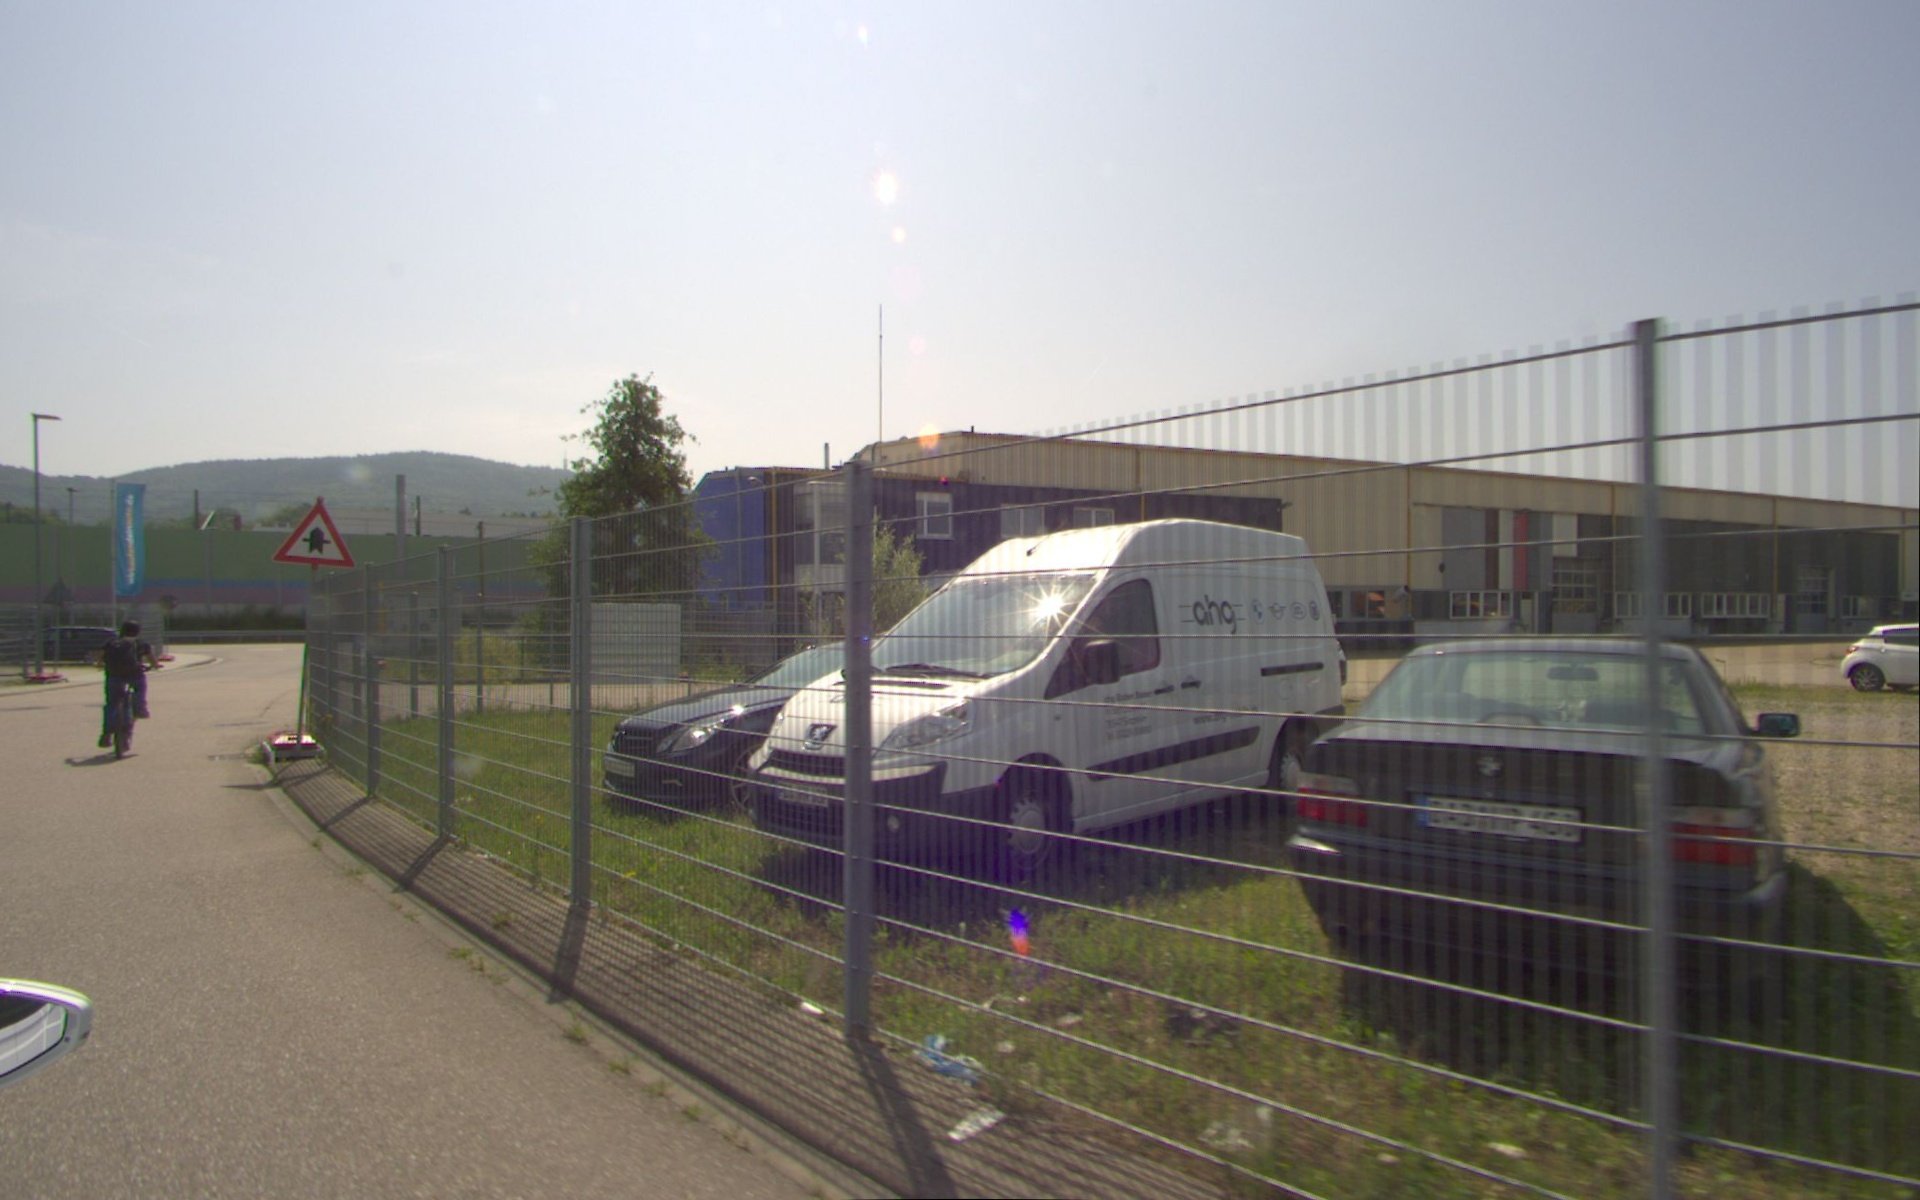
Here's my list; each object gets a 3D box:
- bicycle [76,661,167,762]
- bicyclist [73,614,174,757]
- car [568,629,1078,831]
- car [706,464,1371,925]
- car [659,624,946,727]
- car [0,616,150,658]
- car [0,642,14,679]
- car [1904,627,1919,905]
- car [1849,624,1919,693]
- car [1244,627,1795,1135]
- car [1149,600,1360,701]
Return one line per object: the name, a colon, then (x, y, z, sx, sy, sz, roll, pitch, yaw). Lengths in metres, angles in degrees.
bicycle: (-10.207, 1.314, 12.240, 0.678, 1.065, 1.888, 0, -1, -35)
bicyclist: (-10.183, 1.011, 12.228, 0.834, 1.639, 1.032, 1, -2, -35)
car: (-1.074, 0.980, 9.256, 4.388, 1.378, 1.890, 1, -1, -42)
car: (0.978, 0.488, 7.290, 1.887, 2.177, 5.294, -1, -1, 44)
car: (-2.238, 1.020, 14.882, 1.887, 1.294, 3.893, -1, -1, 44)
car: (-33.370, 1.367, 37.755, 3.932, 1.512, 1.995, 0, 0, -21)
car: (-26.953, 1.667, 26.512, 1.464, 1.020, 4.099, 0, -1, -24)
car: (4.600, 0.806, 3.004, 1.592, 1.413, 4.338, -1, -1, 30)
car: (21.294, 1.249, 21.029, 1.511, 1.454, 3.656, 0, -1, -23)
car: (2.970, 0.841, 4.945, 1.596, 1.374, 4.179, -1, -1, 38)
car: (6.167, 1.003, 21.724, 1.826, 1.924, 5.065, 0, -1, -19)
